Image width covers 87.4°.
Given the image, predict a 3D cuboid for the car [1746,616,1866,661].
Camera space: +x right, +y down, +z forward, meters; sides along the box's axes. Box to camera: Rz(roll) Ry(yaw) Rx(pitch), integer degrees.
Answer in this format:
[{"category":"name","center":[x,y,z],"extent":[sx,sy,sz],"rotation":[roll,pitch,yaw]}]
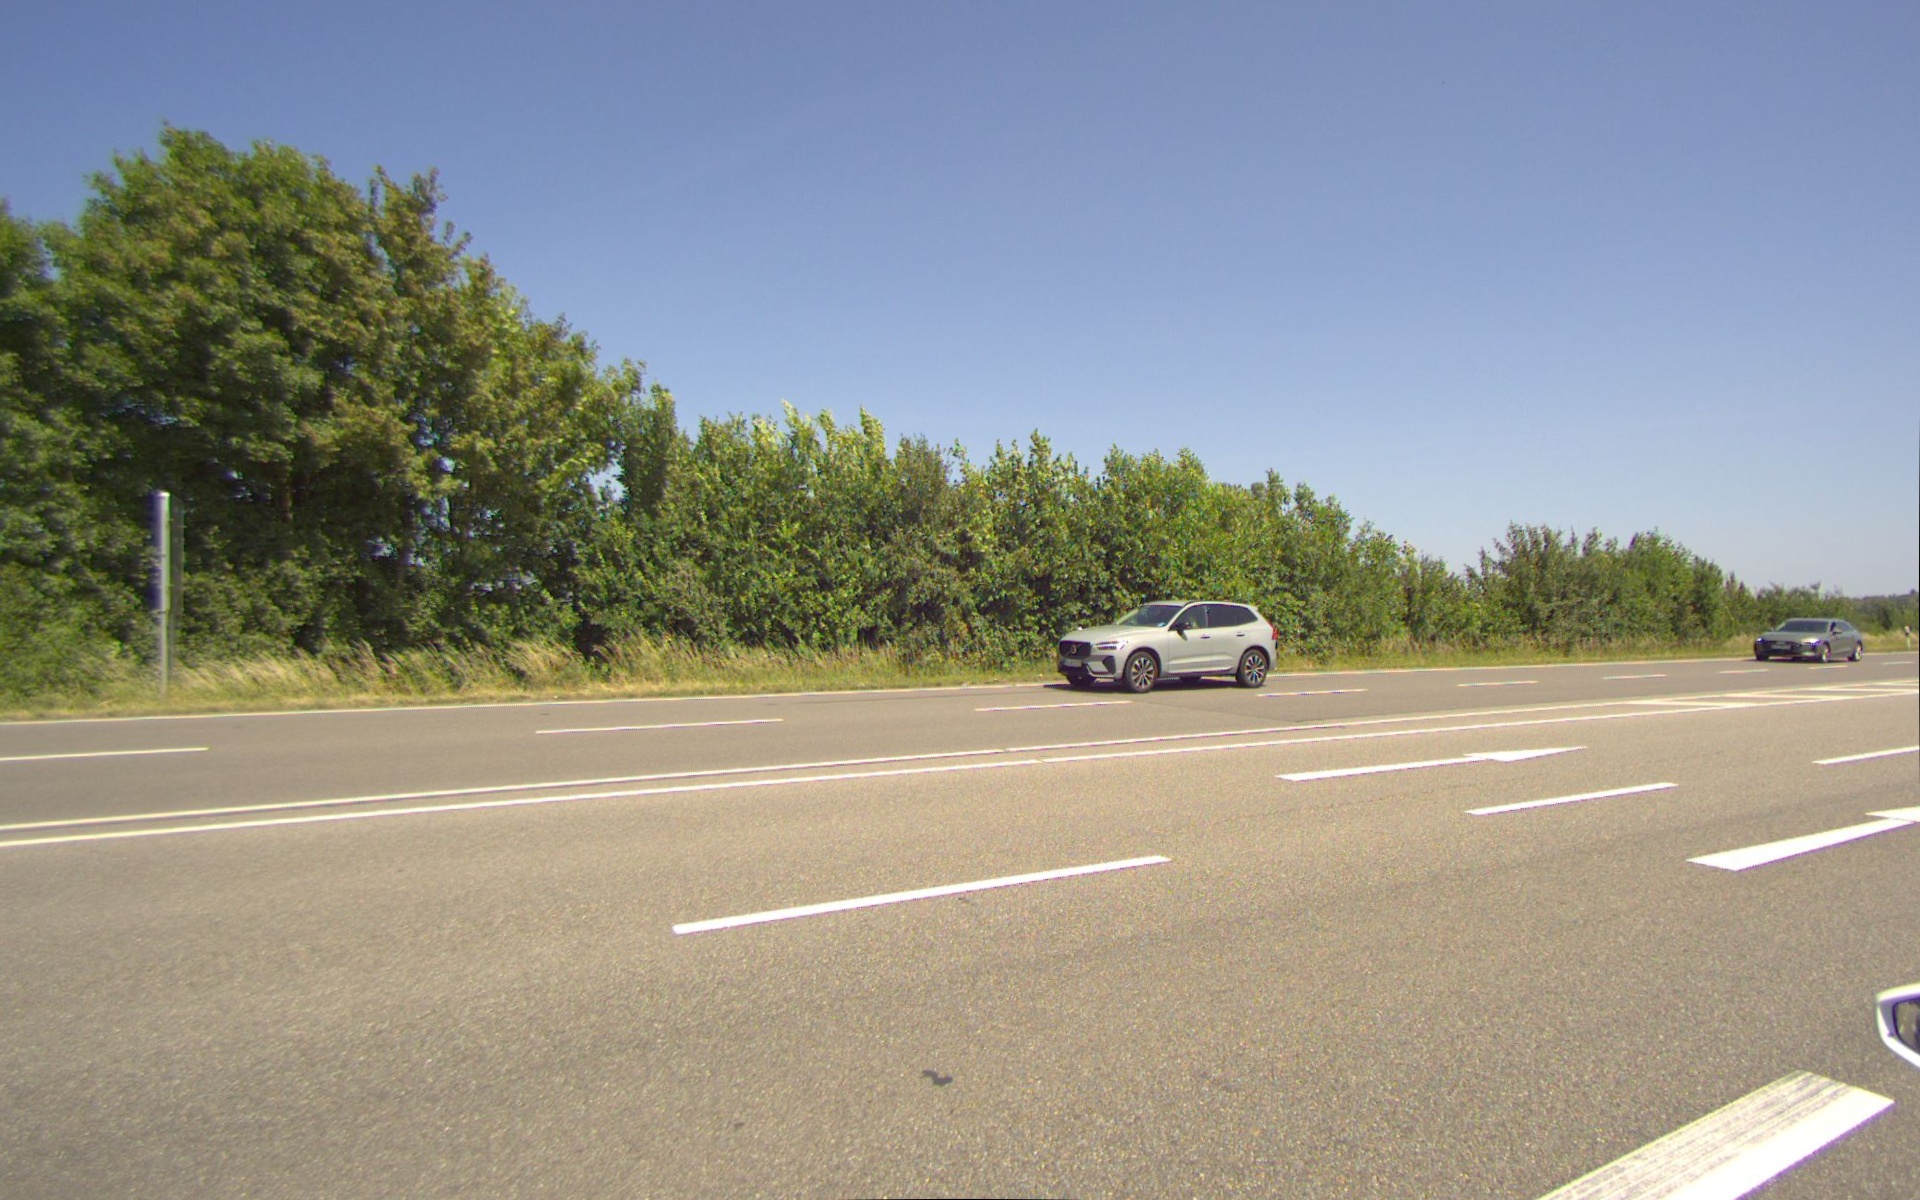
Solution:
[{"category":"car","center":[28.991,1.301,34.391],"extent":[4.481,1.417,1.868],"rotation":[1,0,-32]}]

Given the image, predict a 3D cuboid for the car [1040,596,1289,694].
[{"category":"car","center":[3.945,0.801,19.131],"extent":[4.519,1.661,2.016],"rotation":[1,0,-32]}]
